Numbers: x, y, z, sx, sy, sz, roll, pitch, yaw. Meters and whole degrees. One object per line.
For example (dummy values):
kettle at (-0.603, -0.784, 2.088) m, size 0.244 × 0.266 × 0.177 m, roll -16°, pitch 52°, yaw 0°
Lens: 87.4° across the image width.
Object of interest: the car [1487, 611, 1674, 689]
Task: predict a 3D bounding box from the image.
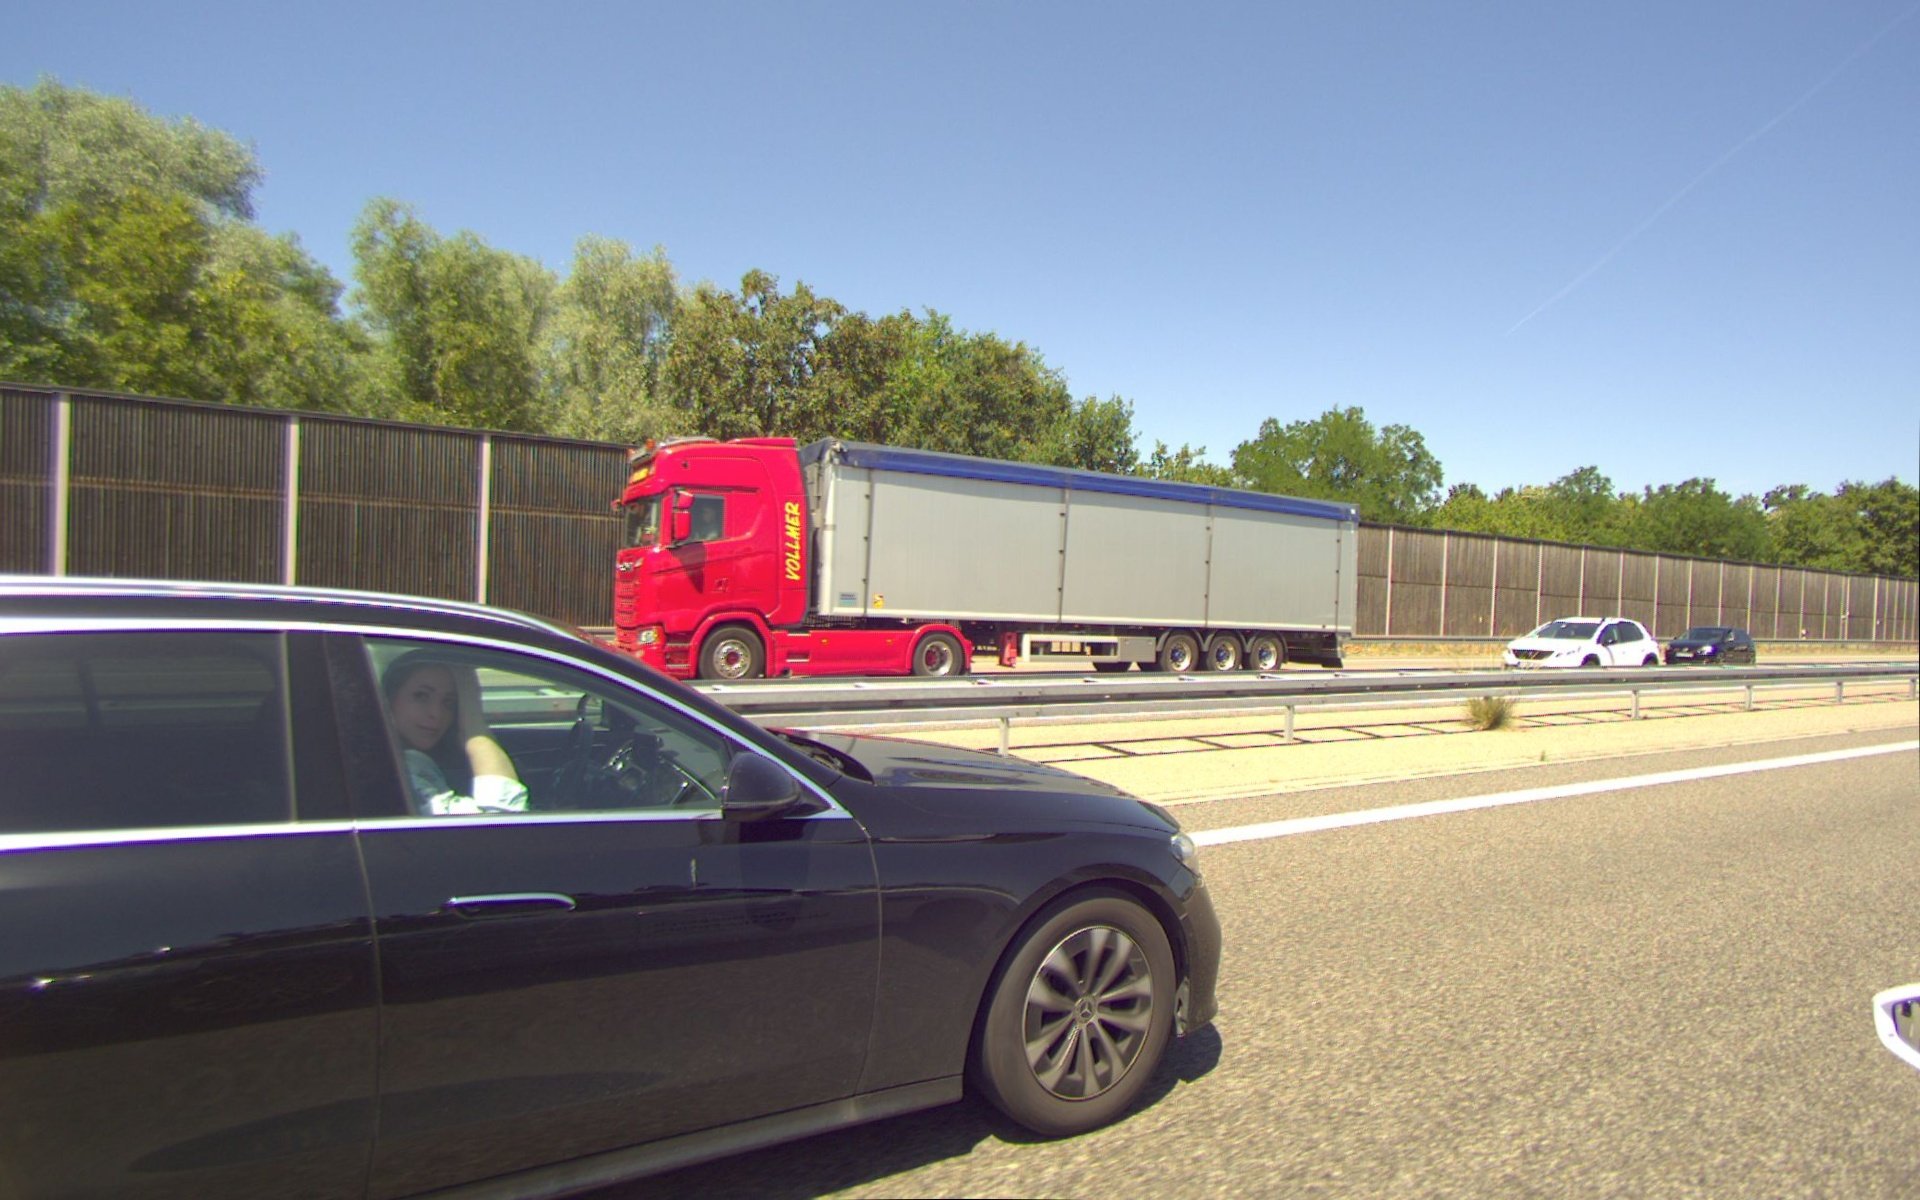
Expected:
car at (13.801, 1.086, 22.311) m, size 4.197 × 1.564 × 1.796 m, roll 2°, pitch 0°, yaw -31°

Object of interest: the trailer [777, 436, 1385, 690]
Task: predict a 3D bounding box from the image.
trailer at (3.314, -0.433, 20.943) m, size 14.045 × 4.130 × 2.329 m, roll 2°, pitch 0°, yaw -31°

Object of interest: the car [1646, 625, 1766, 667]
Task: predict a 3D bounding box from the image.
car at (26.729, 1.631, 35.957) m, size 4.530 × 1.393 × 1.909 m, roll 2°, pitch 0°, yaw -31°

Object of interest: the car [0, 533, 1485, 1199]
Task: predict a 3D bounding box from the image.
car at (-1.001, 0.680, 3.048) m, size 5.755 × 1.526 × 1.933 m, roll 2°, pitch 0°, yaw -32°

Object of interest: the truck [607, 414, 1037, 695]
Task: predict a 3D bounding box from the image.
truck at (-2.246, -0.593, 17.618) m, size 7.070 × 4.130 × 2.346 m, roll 2°, pitch 0°, yaw -31°
